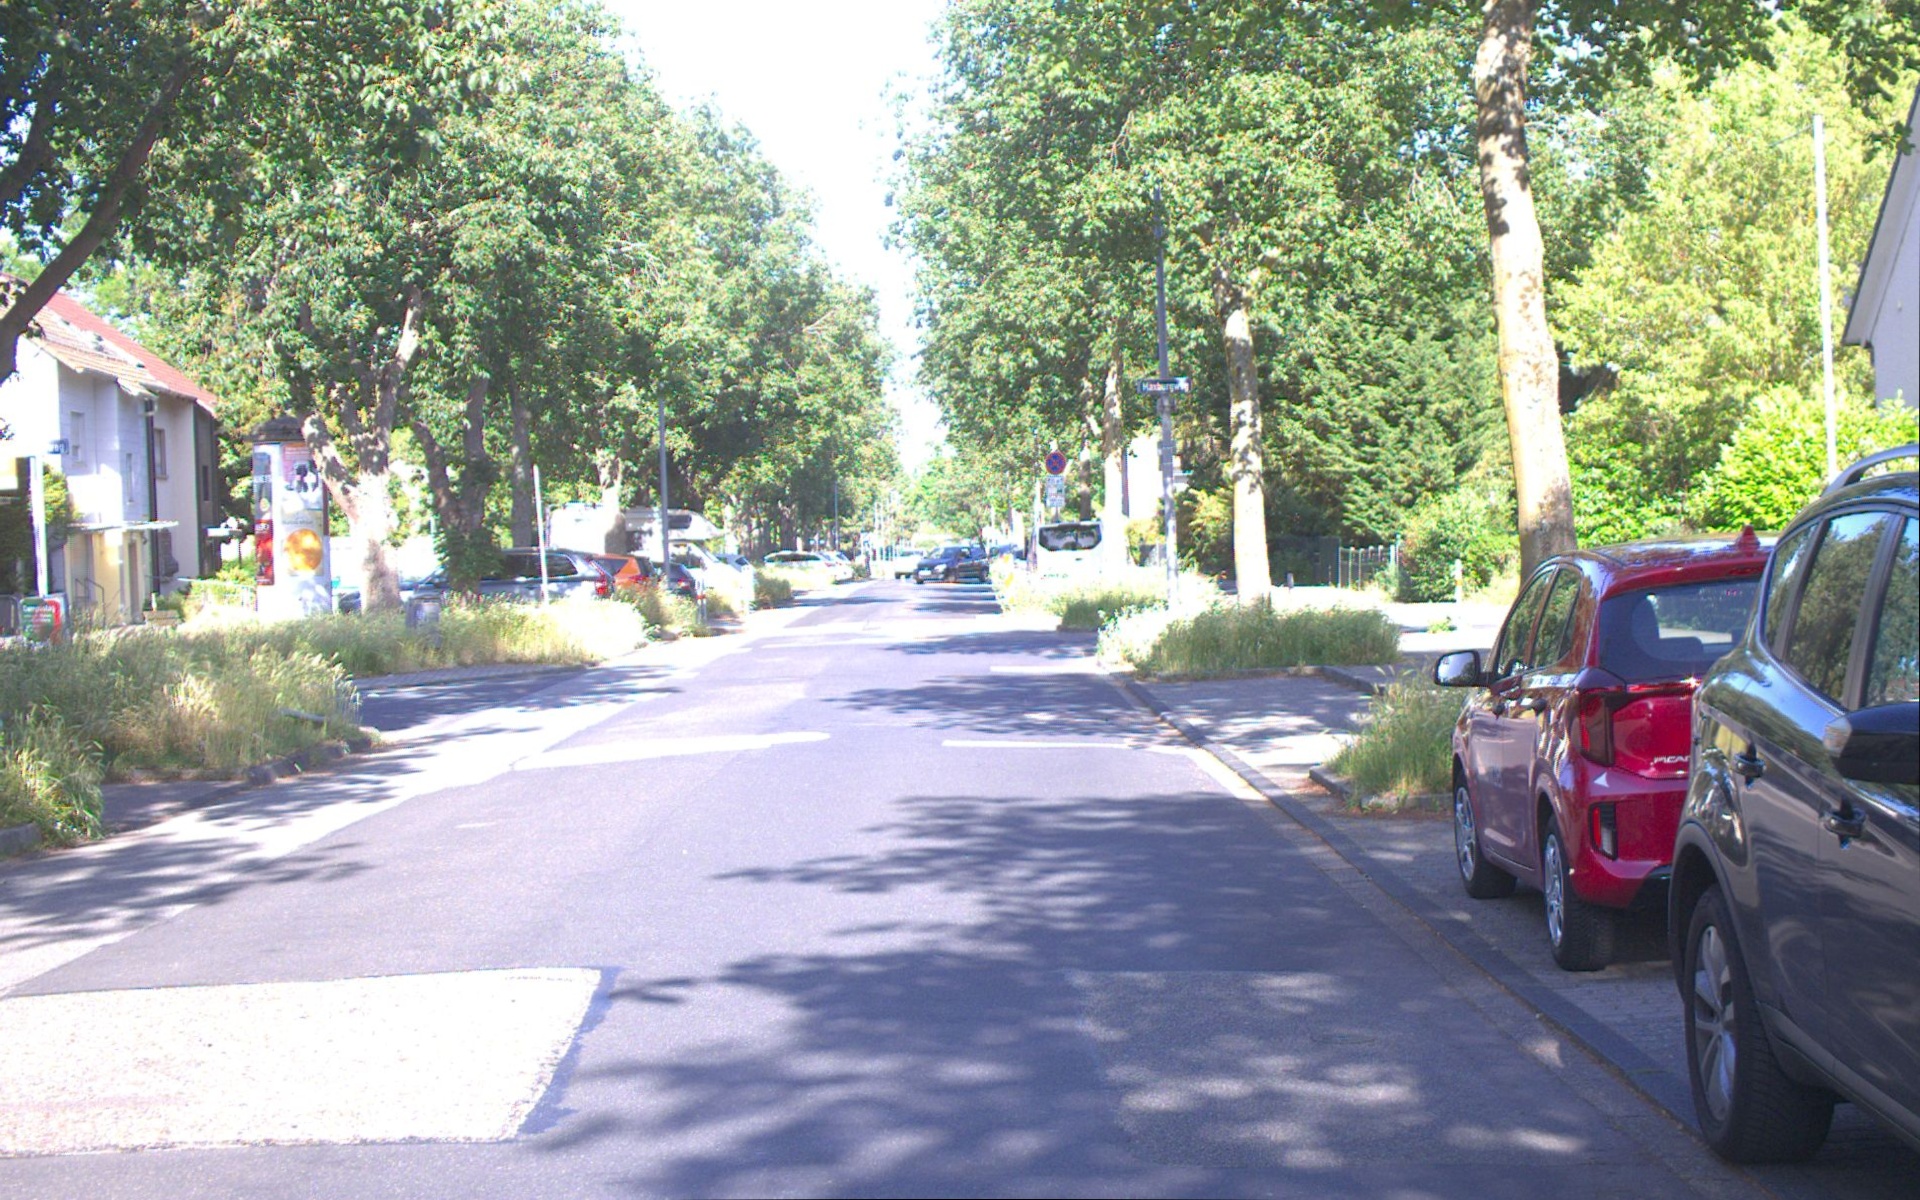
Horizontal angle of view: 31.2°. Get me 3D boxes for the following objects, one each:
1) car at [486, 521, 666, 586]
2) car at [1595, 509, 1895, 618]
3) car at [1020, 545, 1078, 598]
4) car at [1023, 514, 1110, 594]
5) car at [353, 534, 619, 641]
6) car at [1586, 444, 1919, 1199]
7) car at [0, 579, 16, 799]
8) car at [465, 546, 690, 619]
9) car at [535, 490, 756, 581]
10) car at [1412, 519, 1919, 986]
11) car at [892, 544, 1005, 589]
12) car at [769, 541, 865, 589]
[{"bbox_3d":[-8.858,-1.071,79.451,3.875,1.474,1.894,0,1,3],"label":"car"},{"bbox_3d":[12.356,-0.593,54.274,4.287,1.603,2.000,-1,2,1],"label":"car"},{"bbox_3d":[3.041,-0.990,118.017,1.903,1.768,4.301,-1,1,0],"label":"car"},{"bbox_3d":[2.439,-1.065,79.685,1.903,1.768,4.301,-1,1,0],"label":"car"},{"bbox_3d":[-8.370,-0.238,60.998,4.545,1.759,2.001,-1,2,-4],"label":"car"},{"bbox_3d":[2.643,0.475,6.881,1.853,1.620,4.470,-3,0,0],"label":"car"},{"bbox_3d":[-8.945,0.671,23.326,4.554,1.506,1.841,-1,2,0],"label":"car"},{"bbox_3d":[-7.422,-0.356,67.097,4.286,1.310,1.909,-1,2,-4],"label":"car"},{"bbox_3d":[-8.068,-1.685,88.782,5.498,2.240,2.517,-1,2,-1],"label":"car"},{"bbox_3d":[2.864,0.476,13.410,1.697,1.474,3.888,-4,1,2],"label":"car"},{"bbox_3d":[-0.452,-1.327,135.135,3.988,1.638,2.000,-2,3,-36],"label":"car"},{"bbox_3d":[-6.309,-1.542,151.857,3.987,2.006,2.000,0,2,4],"label":"car"}]
